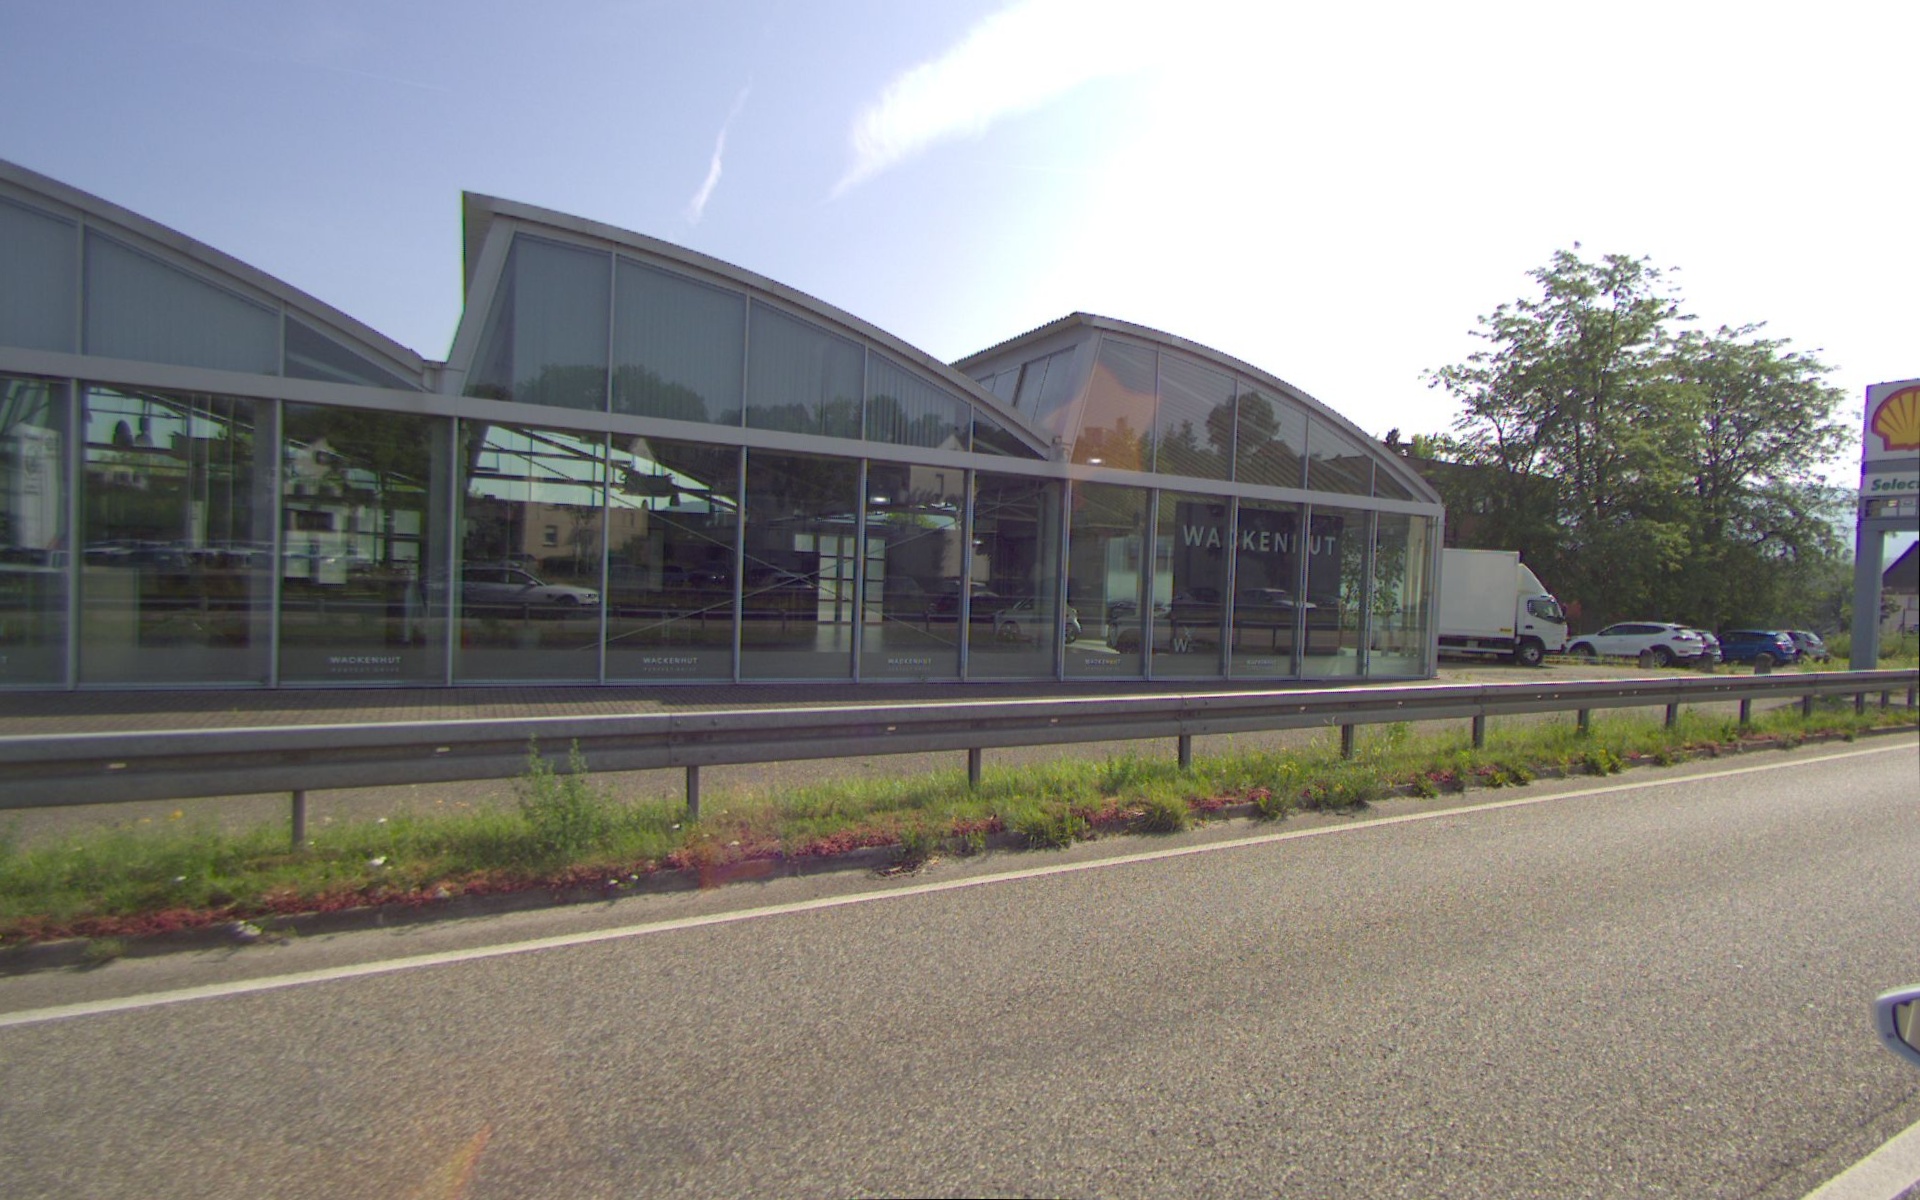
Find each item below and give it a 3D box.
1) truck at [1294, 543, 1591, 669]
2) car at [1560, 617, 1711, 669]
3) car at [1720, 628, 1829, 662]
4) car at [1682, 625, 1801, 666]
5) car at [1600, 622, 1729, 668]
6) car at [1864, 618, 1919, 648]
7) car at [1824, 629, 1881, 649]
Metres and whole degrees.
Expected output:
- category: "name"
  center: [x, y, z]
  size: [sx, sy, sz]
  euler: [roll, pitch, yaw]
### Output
- category: "truck"
  center: [15.204, 0.137, 32.291]
  size: [8.045, 3.604, 2.808]
  euler: [2, 1, 9]
- category: "car"
  center: [25.420, 1.580, 37.913]
  size: [1.914, 1.677, 4.319]
  euler: [2, 1, -36]
- category: "car"
  center: [39.334, 2.142, 48.546]
  size: [1.843, 1.479, 3.723]
  euler: [2, 0, -34]
- category: "car"
  center: [34.657, 1.990, 44.623]
  size: [1.912, 1.519, 3.723]
  euler: [2, 1, -34]
- category: "car"
  center: [27.560, 1.736, 39.392]
  size: [1.914, 1.519, 3.720]
  euler: [2, 1, -36]
- category: "car"
  center: [67.105, 2.327, 71.343]
  size: [1.959, 2.040, 4.908]
  euler: [1, 0, 11]
- category: "car"
  center: [96.419, 4.212, 108.526]
  size: [1.838, 1.655, 4.142]
  euler: [4, 2, -27]
